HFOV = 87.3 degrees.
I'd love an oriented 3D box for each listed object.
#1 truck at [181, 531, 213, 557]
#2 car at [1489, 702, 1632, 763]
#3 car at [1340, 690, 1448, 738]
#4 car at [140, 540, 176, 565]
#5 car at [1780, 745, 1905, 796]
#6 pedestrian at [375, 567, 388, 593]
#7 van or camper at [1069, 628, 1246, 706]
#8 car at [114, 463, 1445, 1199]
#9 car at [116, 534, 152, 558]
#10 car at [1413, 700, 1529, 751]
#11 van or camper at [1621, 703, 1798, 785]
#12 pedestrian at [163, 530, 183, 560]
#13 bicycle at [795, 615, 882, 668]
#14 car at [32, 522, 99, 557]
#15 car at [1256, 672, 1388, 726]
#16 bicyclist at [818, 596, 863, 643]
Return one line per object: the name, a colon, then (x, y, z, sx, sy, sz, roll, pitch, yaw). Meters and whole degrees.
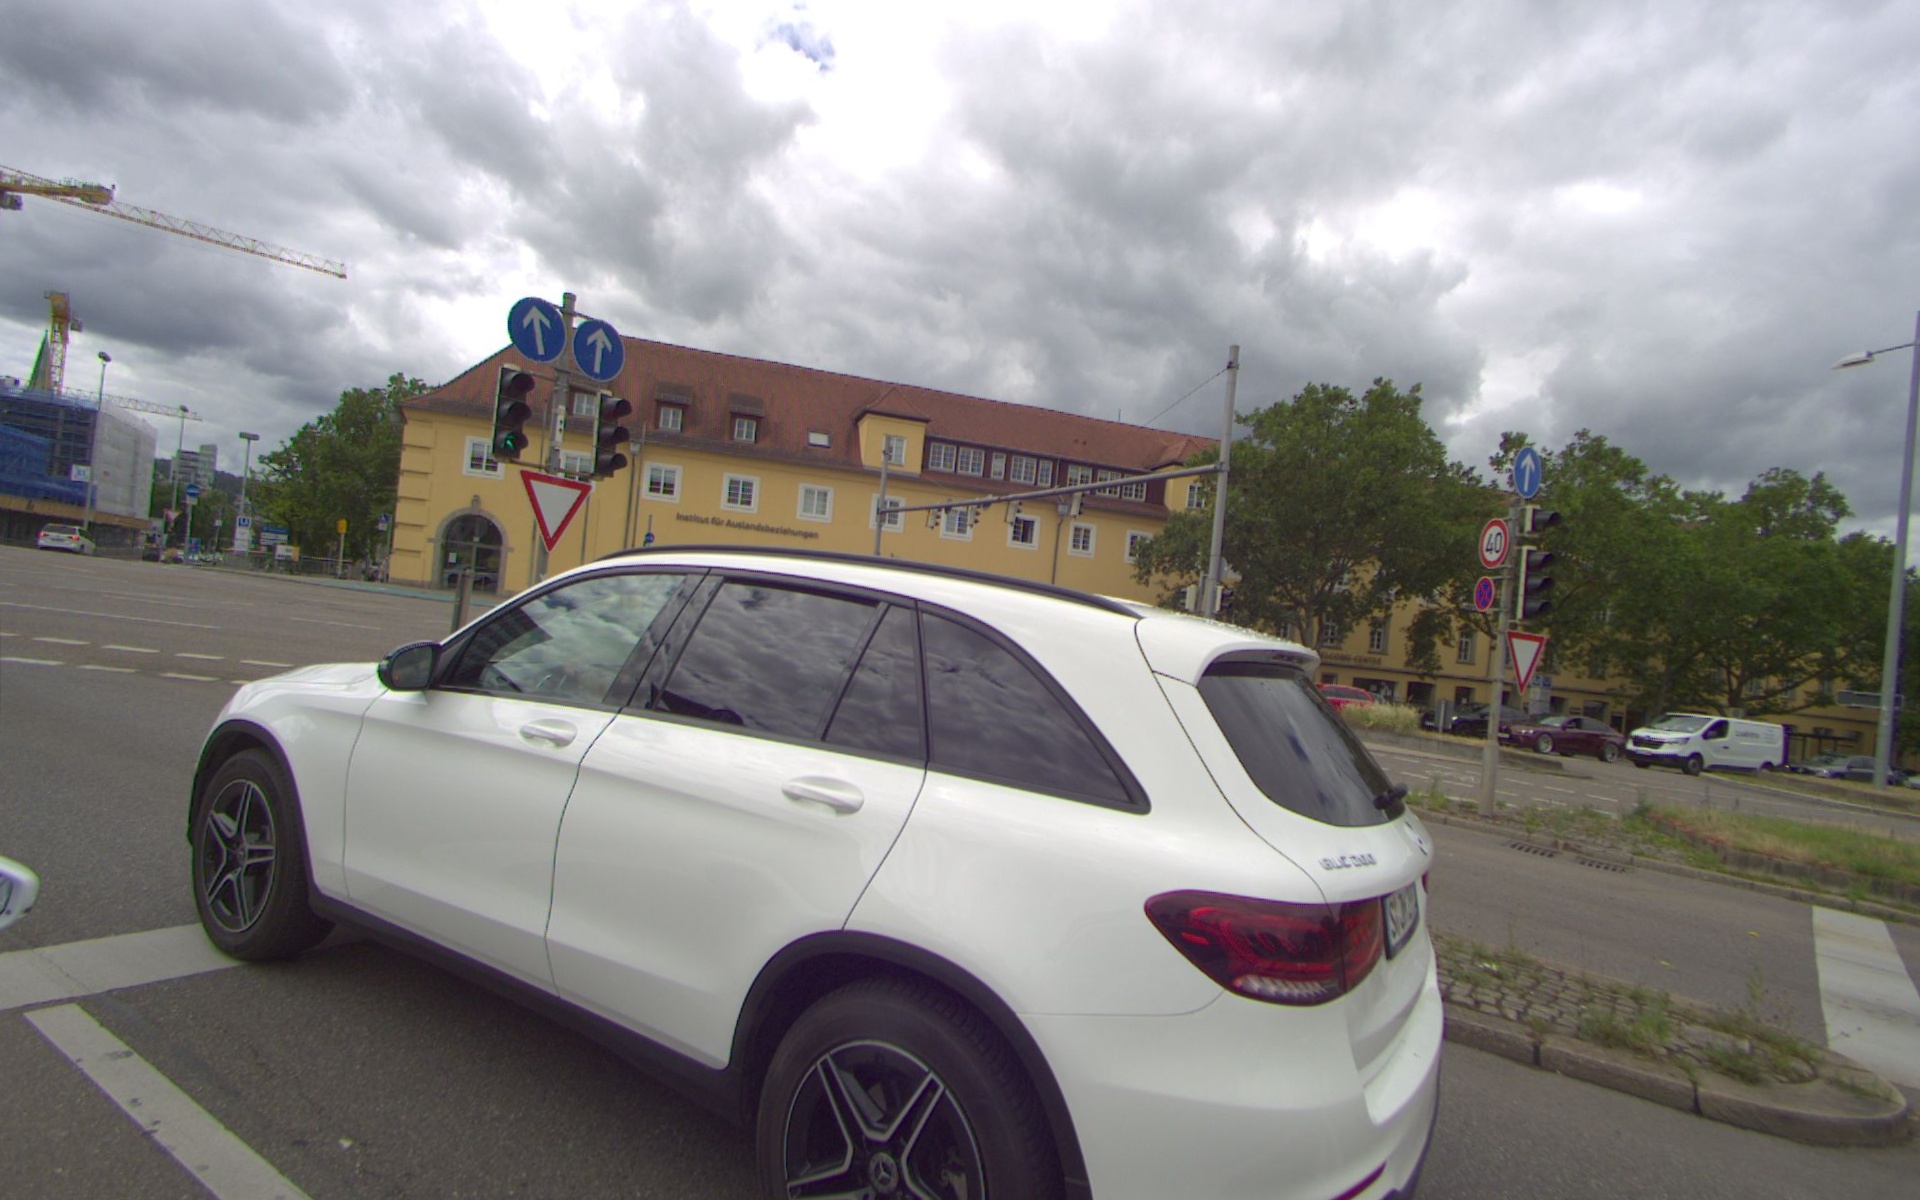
truck: (-85.660, -6.270, 112.972, 2.114, 2.482, 4.787, 8, -1, -32)
car: (20.281, 4.472, 34.003, 4.183, 1.437, 1.654, 8, -1, -16)
car: (18.658, 4.889, 43.243, 4.028, 1.430, 1.654, 8, -1, -16)
car: (-61.111, -3.620, 76.690, 1.793, 1.520, 3.943, 8, -1, -35)
car: (36.844, 7.106, 42.006, 4.484, 1.437, 1.654, 8, -1, -16)
pedestrian: (-37.010, -1.294, 64.386, 0.539, 1.616, 0.736, 8, -1, -32)
van or camper: (7.222, 2.439, 36.949, 5.928, 2.037, 2.015, 8, -1, -12)
car: (-0.856, 0.627, 3.524, 4.305, 1.667, 1.822, 8, -1, 31)
car: (-66.088, -4.338, 80.540, 1.793, 1.520, 3.943, 8, -1, -35)
car: (20.622, 5.055, 40.602, 4.028, 1.430, 1.654, 8, -1, -16)
van or camper: (23.862, 4.581, 32.058, 5.076, 1.914, 1.654, 8, -1, -16)
pedestrian: (-36.698, -2.554, 46.891, 0.545, 1.297, 0.458, 8, -1, -32)
bicycle: (-3.480, 1.170, 28.663, 2.428, 1.172, 0.923, 7, -1, 38)
car: (-48.964, -3.307, 55.167, 1.790, 1.519, 3.953, 8, -3, -29)
car: (13.889, 3.805, 38.602, 4.622, 1.437, 1.592, 8, -1, -16)
bicyclist: (-3.398, 0.561, 28.667, 0.714, 1.172, 0.923, 7, -1, 38)
